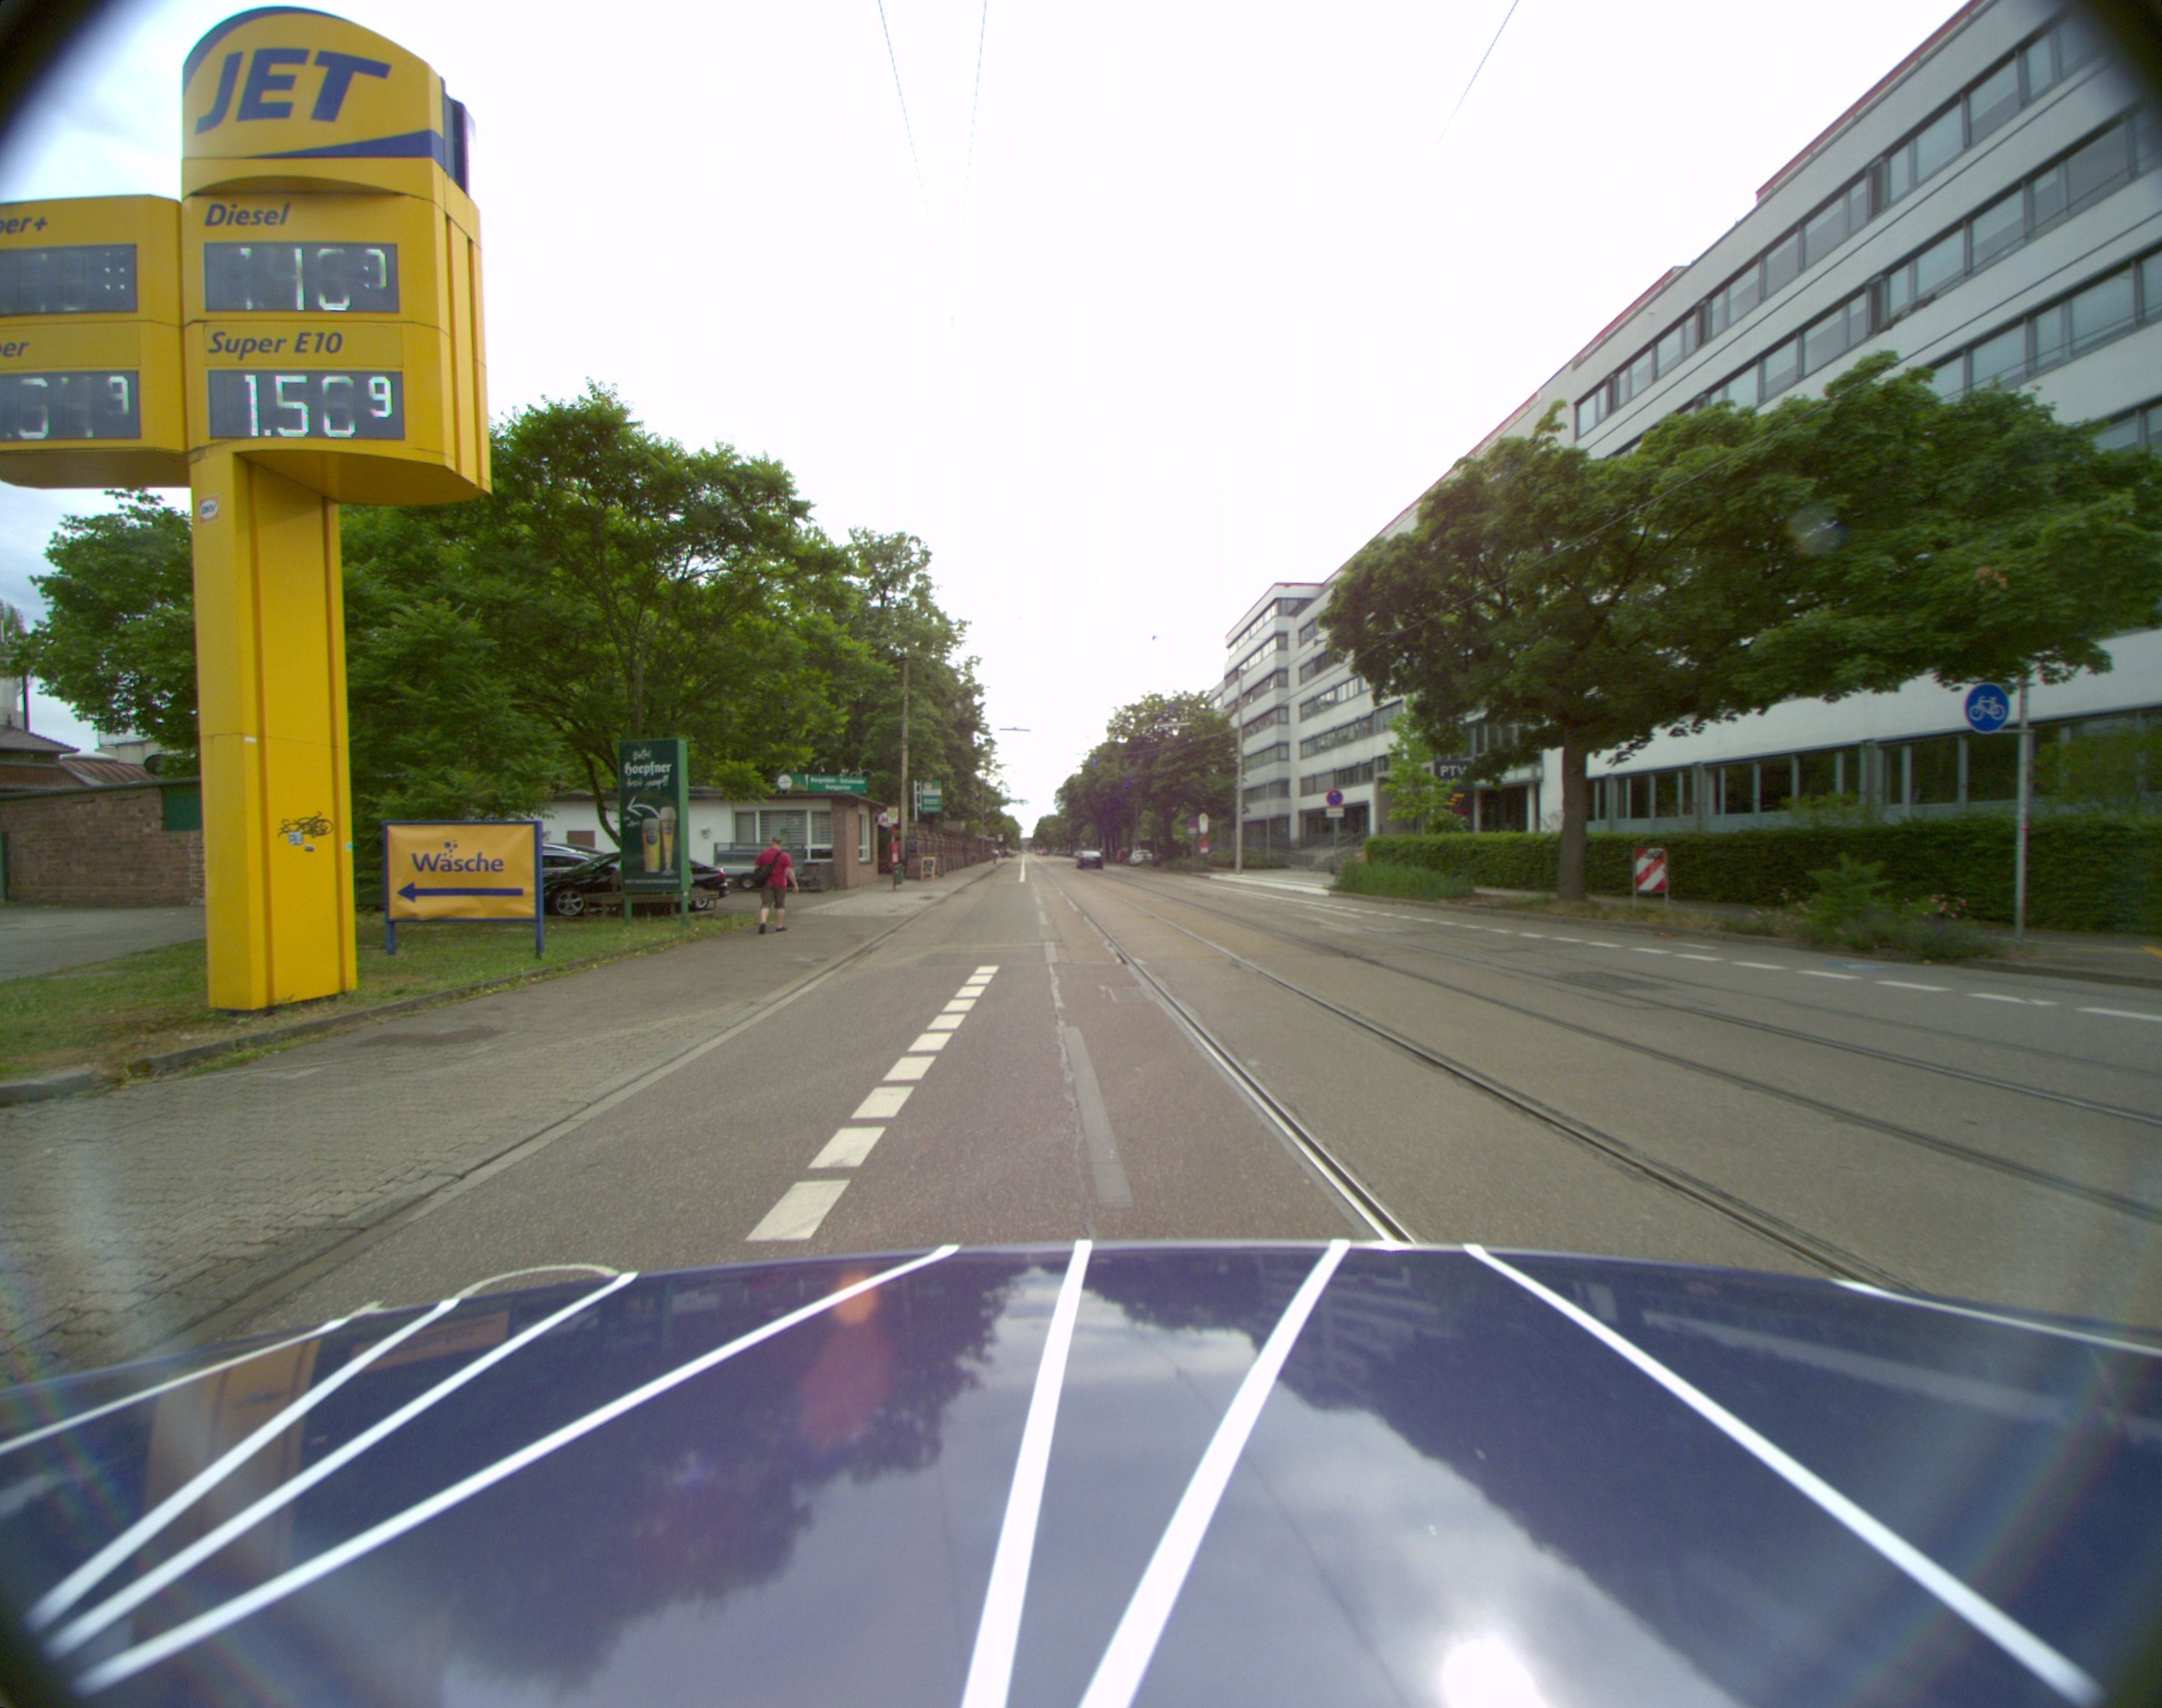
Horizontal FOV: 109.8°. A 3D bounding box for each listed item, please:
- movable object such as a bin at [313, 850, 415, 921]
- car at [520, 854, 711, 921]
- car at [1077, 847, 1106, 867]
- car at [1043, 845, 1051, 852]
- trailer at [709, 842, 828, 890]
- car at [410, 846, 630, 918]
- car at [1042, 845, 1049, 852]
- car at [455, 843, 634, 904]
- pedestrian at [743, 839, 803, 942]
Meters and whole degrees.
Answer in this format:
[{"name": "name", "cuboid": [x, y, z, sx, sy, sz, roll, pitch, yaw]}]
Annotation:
[{"name": "movable object such as a bin", "cuboid": [-14.309, 0.606, 15.176, 1.118, 1.312, 1.162, -1, 2, 31]}, {"name": "car", "cuboid": [-10.765, 0.699, 17.988, 1.998, 1.281, 3.999, -2, 1, 1]}, {"name": "car", "cuboid": [0.797, 0.212, 61.800, 1.802, 1.537, 4.477, -2, 1, -6]}, {"name": "car", "cuboid": [-9.360, -1.551, 210.515, 1.998, 2.002, 3.999, -2, 1, 1]}, {"name": "trailer", "cuboid": [-10.546, 0.383, 25.829, 3.291, 1.523, 1.772, 0, 3, -3]}, {"name": "car", "cuboid": [-13.840, 0.613, 18.964, 1.821, 1.509, 4.007, -1, 1, 37]}, {"name": "car", "cuboid": [-11.258, -1.703, 239.631, 1.999, 2.002, 3.998, -2, 1, -2]}, {"name": "car", "cuboid": [-16.408, 0.560, 23.422, 3.998, 1.657, 1.999, -2, 1, -3]}, {"name": "pedestrian", "cuboid": [-5.504, 0.627, 13.575, 0.871, 1.738, 0.848, 1, 2, -29]}]
